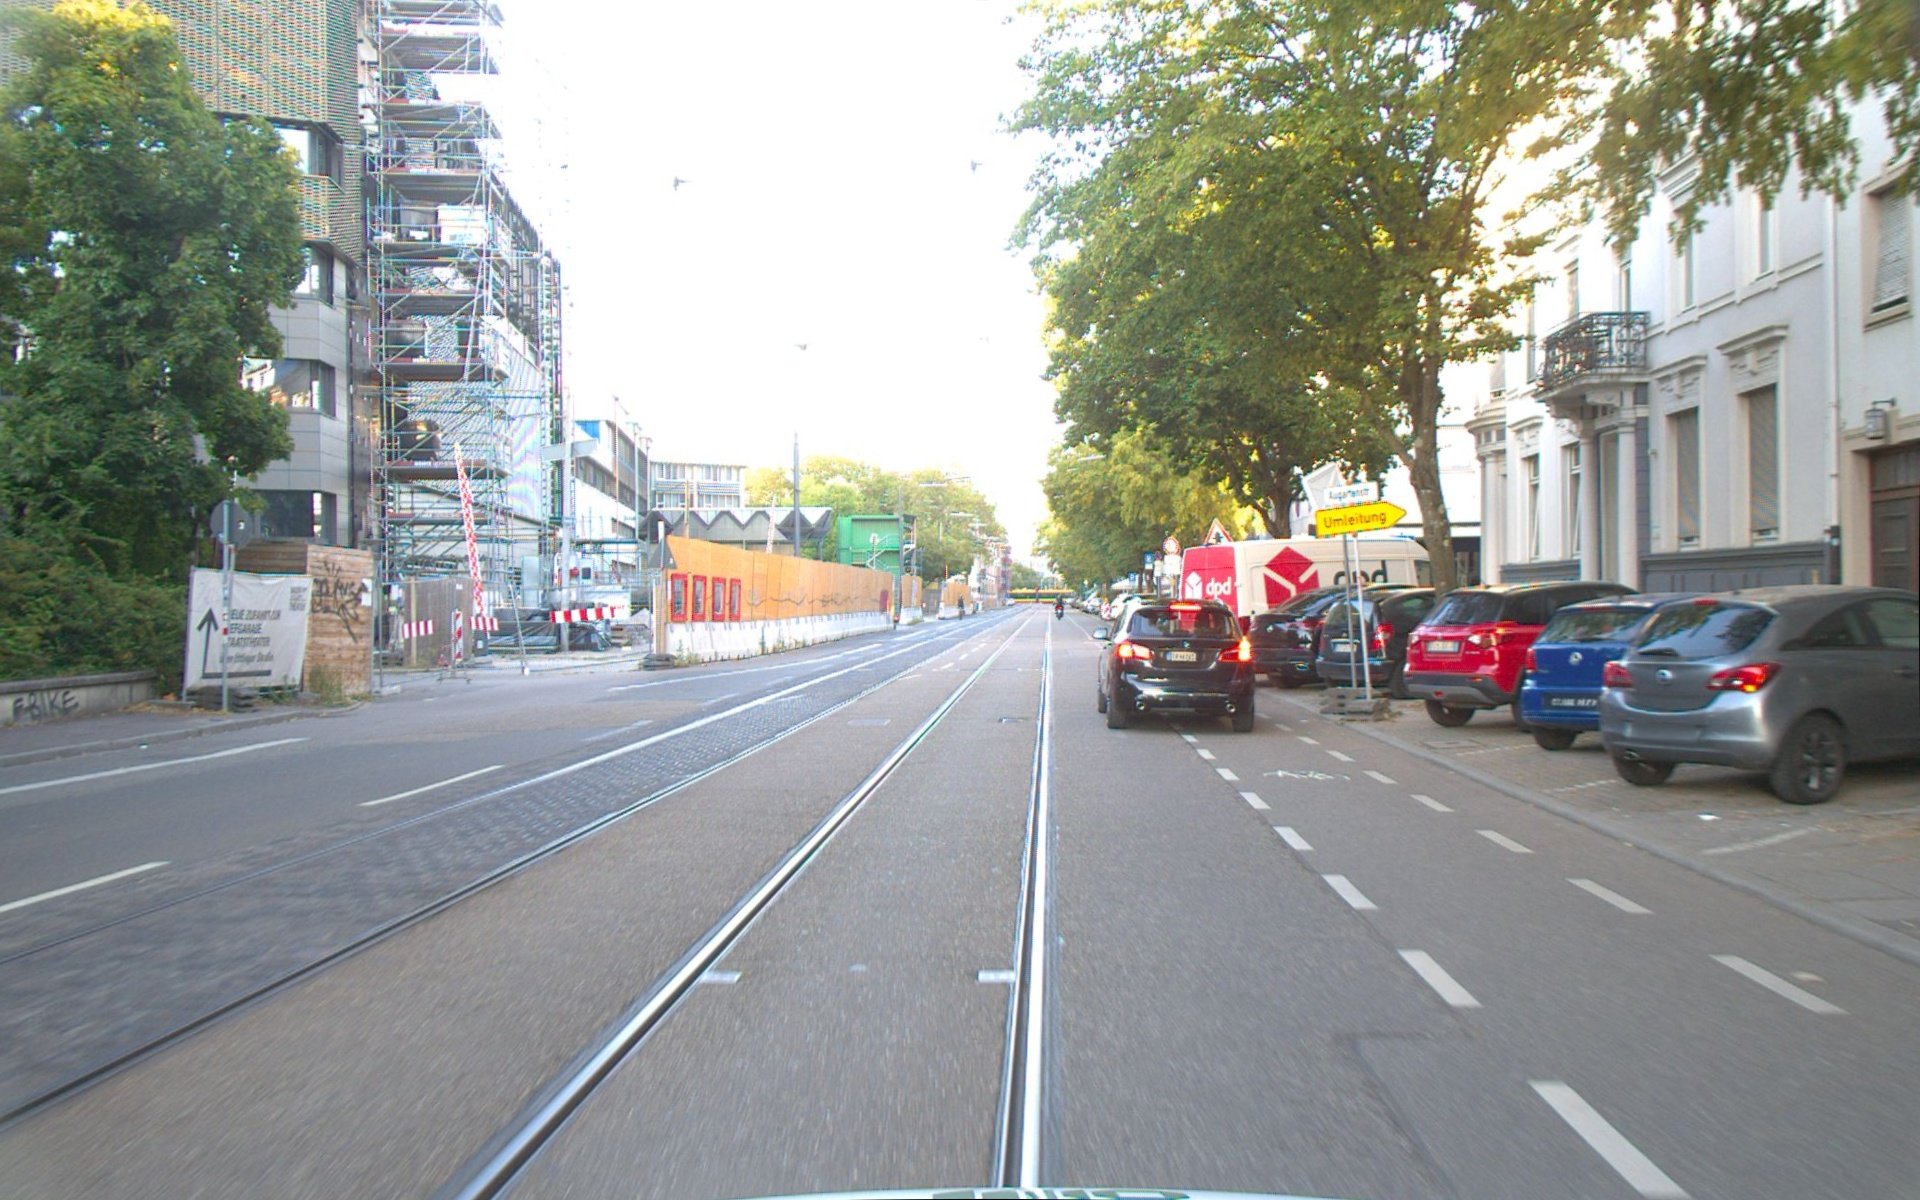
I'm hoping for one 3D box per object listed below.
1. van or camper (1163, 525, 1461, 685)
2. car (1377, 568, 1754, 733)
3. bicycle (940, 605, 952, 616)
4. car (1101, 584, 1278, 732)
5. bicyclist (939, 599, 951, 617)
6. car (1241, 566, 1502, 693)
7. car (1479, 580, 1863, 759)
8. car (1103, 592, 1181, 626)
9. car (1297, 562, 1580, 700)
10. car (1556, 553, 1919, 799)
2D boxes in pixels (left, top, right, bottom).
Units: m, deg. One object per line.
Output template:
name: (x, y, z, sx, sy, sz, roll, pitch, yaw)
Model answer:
van or camper: (6.660, 0.054, 31.026, 5.479, 2.574, 2.064, -4, 0, -32)
car: (7.007, 0.539, 19.152, 3.890, 1.631, 1.827, -2, -1, -24)
bicycle: (-1.135, 0.878, 133.739, 0.928, 0.864, 2.697, -1, 0, 0)
car: (2.822, 0.662, 21.155, 1.842, 1.648, 4.001, 2, 0, 3)
bicyclist: (-1.203, 0.642, 132.953, 0.925, 1.369, 1.111, -1, 0, 0)
car: (6.898, 0.467, 27.756, 3.891, 1.796, 1.827, -4, 0, -24)
car: (6.951, 0.624, 16.102, 3.604, 1.470, 1.642, -2, -1, -32)
car: (9.829, 0.463, 89.184, 3.871, 1.752, 1.630, -1, 0, -11)
car: (7.392, 0.454, 25.569, 3.891, 1.796, 1.827, -4, 0, -24)
car: (6.731, 0.494, 12.836, 3.899, 1.631, 1.823, -2, -1, -29)
